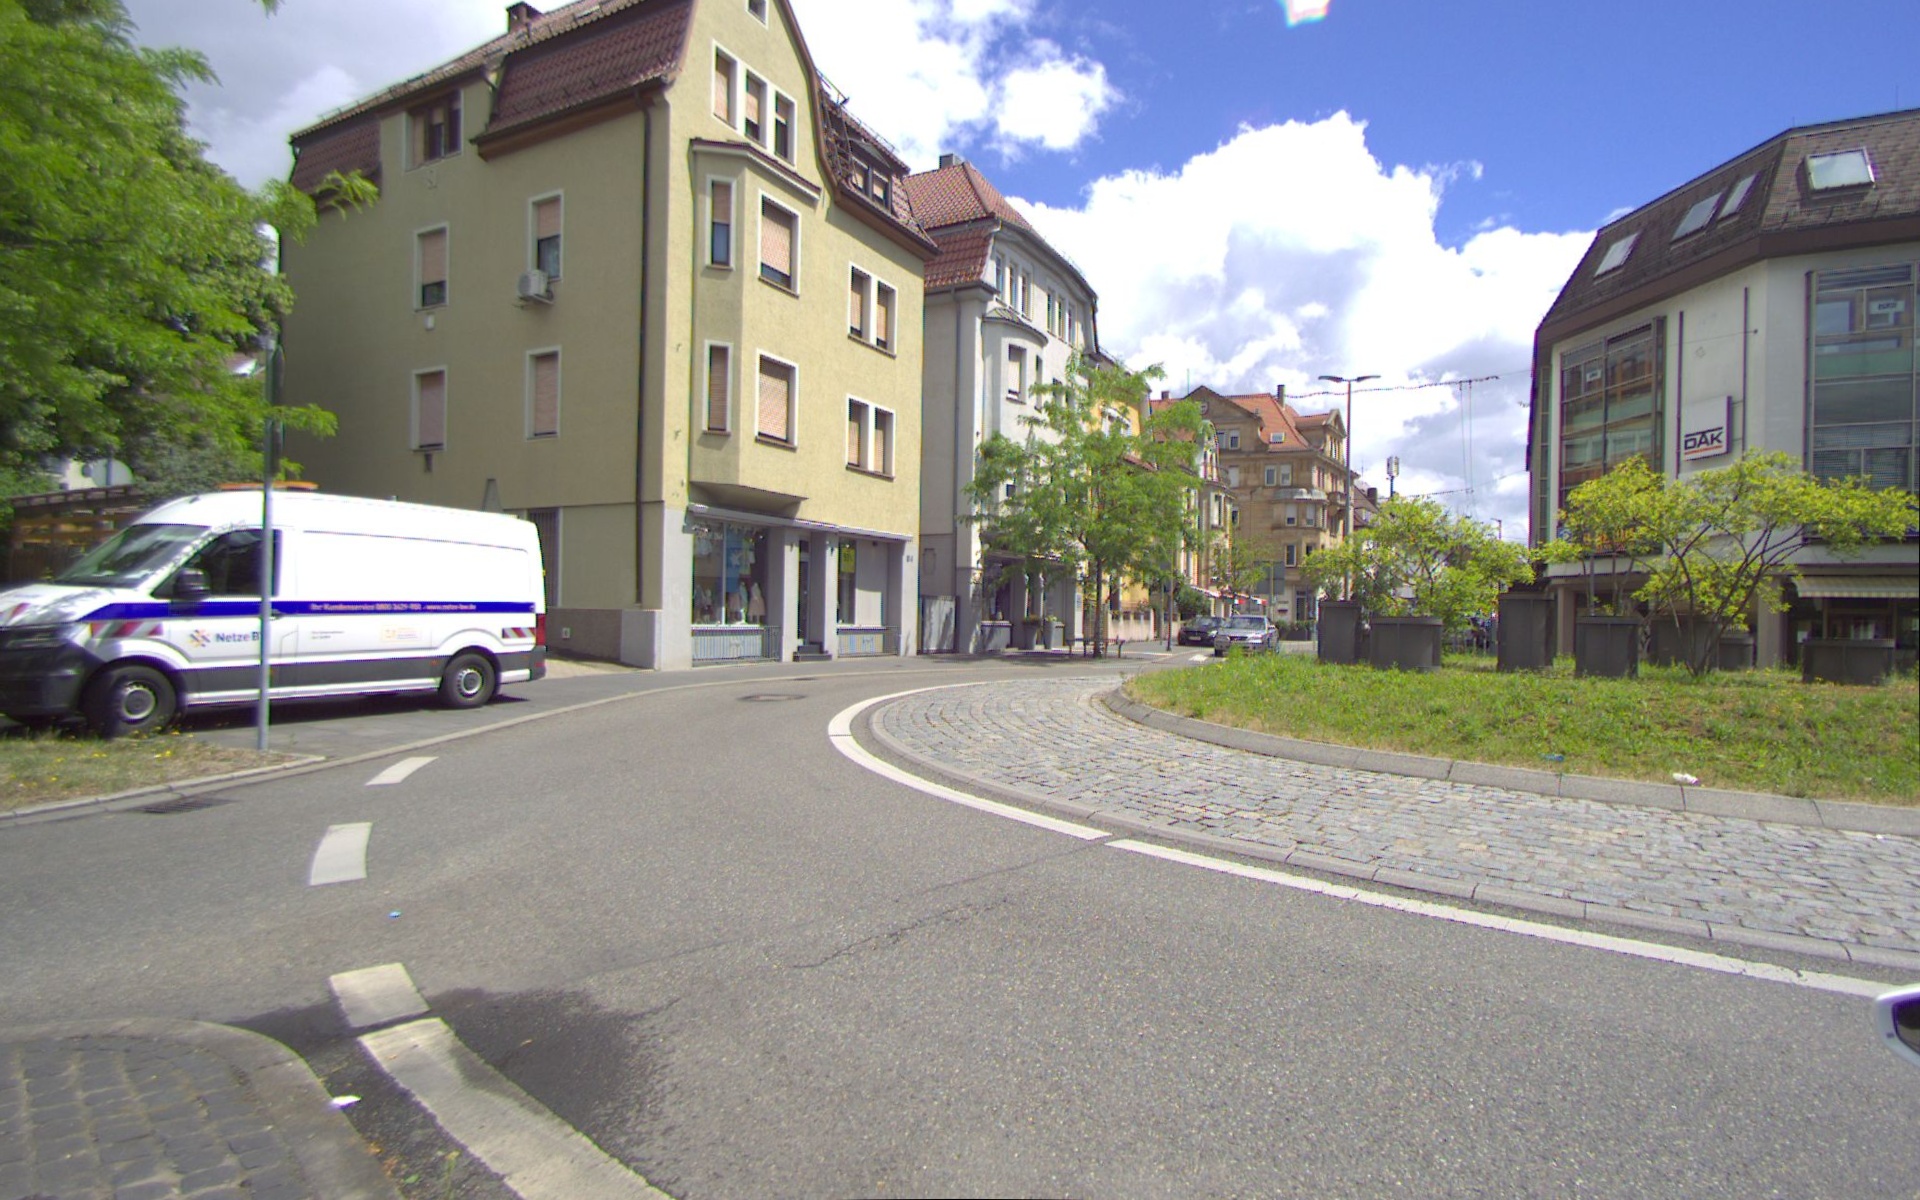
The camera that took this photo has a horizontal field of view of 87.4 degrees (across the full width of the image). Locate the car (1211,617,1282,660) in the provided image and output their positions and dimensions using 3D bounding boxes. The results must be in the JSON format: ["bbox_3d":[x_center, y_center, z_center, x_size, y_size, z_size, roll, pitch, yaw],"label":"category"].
[{"bbox_3d":[10.171,1.321,35.495,1.683,1.372,3.995,1,0,27],"label":"car"}]

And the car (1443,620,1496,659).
[{"bbox_3d":[24.248,1.836,47.773,1.799,1.754,4.221,0,-2,33],"label":"car"}]

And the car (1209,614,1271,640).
[{"bbox_3d":[20.854,2.023,74.893,4.343,1.799,2.001,1,-1,15],"label":"car"}]

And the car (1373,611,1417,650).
[{"bbox_3d":[21.243,1.472,48.973,1.795,1.729,4.437,3,0,24],"label":"car"}]

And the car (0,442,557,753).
[{"bbox_3d":[-7.731,0.000,11.567,1.937,2.641,5.925,2,0,26],"label":"car"}]

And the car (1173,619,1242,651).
[{"bbox_3d":[10.983,1.502,44.294,1.685,1.262,4.401,1,0,31],"label":"car"}]
